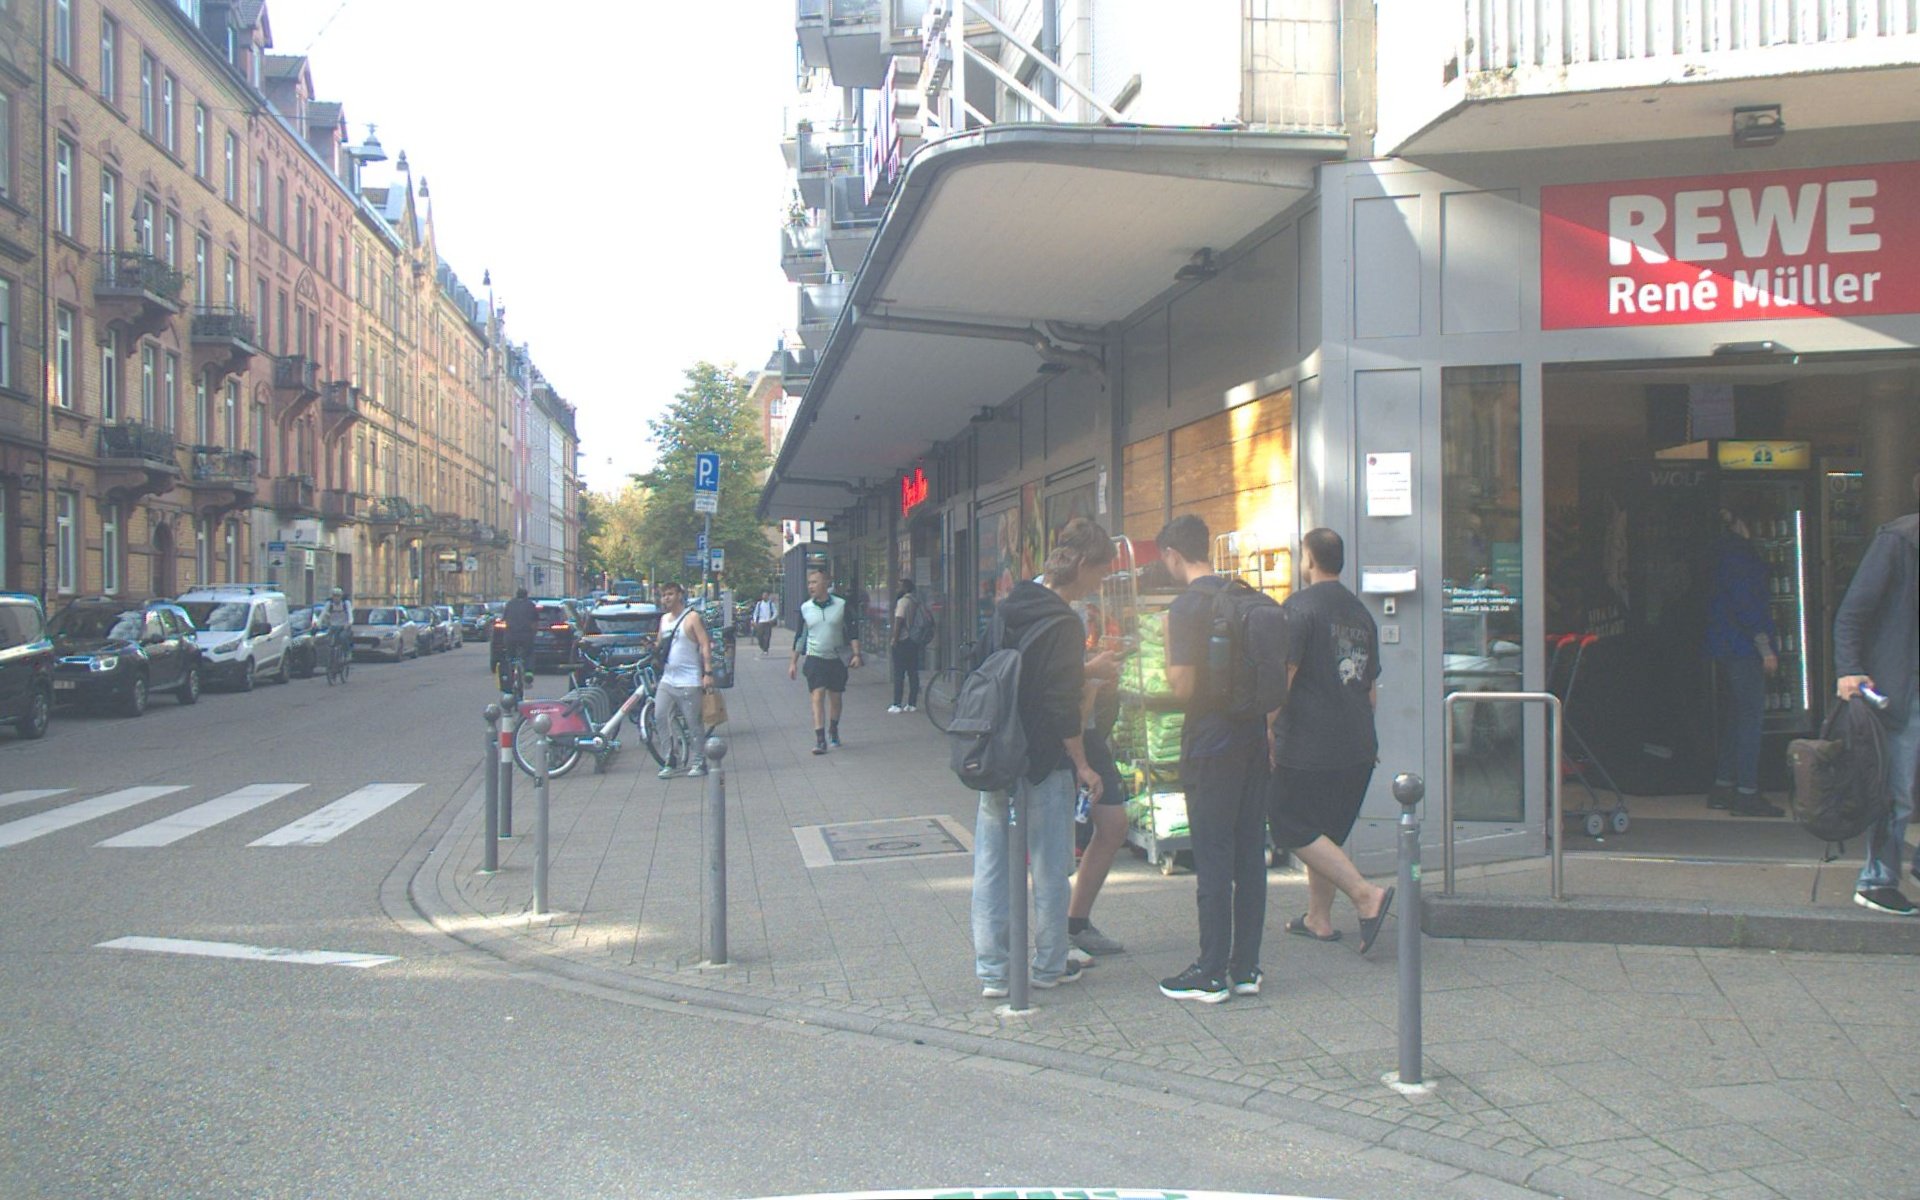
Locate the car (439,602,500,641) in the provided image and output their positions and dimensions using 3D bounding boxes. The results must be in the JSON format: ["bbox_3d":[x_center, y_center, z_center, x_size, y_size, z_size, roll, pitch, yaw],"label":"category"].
[{"bbox_3d":[-18.633,0.788,62.915,1.658,1.411,3.859,1,0,-8],"label":"car"}]

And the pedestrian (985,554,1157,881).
[{"bbox_3d":[0.589,0.604,8.972,0.709,1.661,0.710,-3,1,-11],"label":"pedestrian"}]

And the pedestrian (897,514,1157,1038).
[{"bbox_3d":[0.264,0.611,6.238,0.619,1.828,0.713,-2,2,32],"label":"pedestrian"}]

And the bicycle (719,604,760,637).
[{"bbox_3d":[-8.250,0.773,61.955,1.467,1.166,0.410,-3,1,-9],"label":"bicycle"}]

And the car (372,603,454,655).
[{"bbox_3d":[-16.647,0.851,50.497,1.709,1.509,3.975,1,0,-8],"label":"car"}]

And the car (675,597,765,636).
[{"bbox_3d":[-10.791,0.734,74.372,3.704,1.573,1.721,-2,-1,-19],"label":"car"}]

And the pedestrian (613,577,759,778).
[{"bbox_3d":[-2.416,0.662,14.581,1.012,1.700,0.793,0,-2,-39],"label":"pedestrian"}]

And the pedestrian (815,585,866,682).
[{"bbox_3d":[-2.042,0.566,28.132,0.808,1.616,0.779,-1,0,-7],"label":"pedestrian"}]

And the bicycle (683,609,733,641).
[{"bbox_3d":[-9.190,0.904,60.366,1.736,1.075,0.410,-3,1,-14],"label":"bicycle"}]

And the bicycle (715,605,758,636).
[{"bbox_3d":[-9.109,0.844,67.428,1.699,1.179,0.499,-3,1,-7],"label":"bicycle"}]

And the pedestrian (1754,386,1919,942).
[{"bbox_3d":[3.734,0.223,6.476,1.009,2.048,0.864,-1,1,20],"label":"pedestrian"}]

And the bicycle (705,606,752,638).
[{"bbox_3d":[-9.300,0.877,66.394,1.756,1.179,0.500,-2,1,17],"label":"bicycle"}]

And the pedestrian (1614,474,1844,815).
[{"bbox_3d":[4.299,0.228,9.269,0.756,1.784,0.919,-1,0,-35],"label":"pedestrian"}]

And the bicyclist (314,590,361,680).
[{"bbox_3d":[-12.059,0.660,32.060,0.688,1.707,1.109,0,0,-12],"label":"bicyclist"}]

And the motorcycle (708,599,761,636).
[{"bbox_3d":[-9.439,0.732,69.291,2.108,1.459,0.764,-3,1,-4],"label":"motorcycle"}]

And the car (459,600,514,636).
[{"bbox_3d":[-19.778,0.743,69.174,1.658,1.462,3.859,1,0,-8],"label":"car"}]

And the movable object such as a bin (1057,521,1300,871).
[{"bbox_3d":[1.193,0.484,9.660,0.765,1.775,2.418,0,0,-8],"label":"movable object such as a bin"}]

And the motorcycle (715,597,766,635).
[{"bbox_3d":[-9.575,0.708,72.316,2.108,1.557,0.685,-3,1,-4],"label":"motorcycle"}]

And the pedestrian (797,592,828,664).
[{"bbox_3d":[-3.394,0.632,38.021,0.631,1.616,0.779,-2,0,-7],"label":"pedestrian"}]

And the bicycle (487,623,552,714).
[{"bbox_3d":[-6.718,1.025,25.299,0.704,1.296,1.881,1,0,-8],"label":"bicycle"}]

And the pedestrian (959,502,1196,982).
[{"bbox_3d":[0.489,0.541,6.711,0.698,1.828,0.632,-2,2,24],"label":"pedestrian"}]

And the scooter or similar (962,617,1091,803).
[{"bbox_3d":[0.465,0.763,12.040,0.620,1.234,1.252,-2,1,-11],"label":"scooter or similar"}]

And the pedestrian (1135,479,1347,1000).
[{"bbox_3d":[1.034,0.493,6.215,0.639,1.828,0.659,-3,1,4],"label":"pedestrian"}]

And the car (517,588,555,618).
[{"bbox_3d":[-23.621,0.160,92.252,1.659,1.577,3.859,2,-1,-9],"label":"car"}]

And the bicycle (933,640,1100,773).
[{"bbox_3d":[0.456,0.883,14.298,0.668,1.061,1.718,-1,-1,-28],"label":"bicycle"}]

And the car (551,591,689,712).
[{"bbox_3d":[-5.183,0.721,25.658,1.759,1.633,3.917,-3,1,-8],"label":"car"}]

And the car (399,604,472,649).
[{"bbox_3d":[-17.281,0.844,54.647,1.658,1.411,3.859,1,0,-8],"label":"car"}]

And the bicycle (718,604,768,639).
[{"bbox_3d":[-7.892,0.774,60.162,1.732,1.182,0.649,-3,1,-7],"label":"bicycle"}]

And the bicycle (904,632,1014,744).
[{"bbox_3d":[-0.037,0.886,17.207,0.729,1.033,1.777,-3,0,-13],"label":"bicycle"}]

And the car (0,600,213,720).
[{"bbox_3d":[-12.991,0.840,25.147,1.957,1.667,4.136,1,0,-10],"label":"car"}]

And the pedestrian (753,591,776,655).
[{"bbox_3d":[-5.431,0.626,45.848,0.600,1.756,1.125,-1,1,-8],"label":"pedestrian"}]

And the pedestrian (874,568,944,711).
[{"bbox_3d":[-0.664,0.491,21.313,0.701,1.777,0.815,-3,1,-11],"label":"pedestrian"}]

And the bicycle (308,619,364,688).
[{"bbox_3d":[-12.029,1.012,31.929,0.688,1.241,2.110,0,0,-12],"label":"bicycle"}]

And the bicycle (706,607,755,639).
[{"bbox_3d":[-8.466,0.840,61.129,1.732,1.106,0.649,-3,1,-7],"label":"bicycle"}]

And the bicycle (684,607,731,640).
[{"bbox_3d":[-10.051,0.933,65.865,1.760,1.179,0.499,-3,1,-6],"label":"bicycle"}]

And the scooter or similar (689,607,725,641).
[{"bbox_3d":[-9.120,0.857,59.619,1.181,1.167,0.378,-2,2,23],"label":"scooter or similar"}]

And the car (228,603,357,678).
[{"bbox_3d":[-14.637,0.857,36.491,1.709,1.509,3.975,2,-1,-8],"label":"car"}]

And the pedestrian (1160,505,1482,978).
[{"bbox_3d":[1.480,0.531,6.929,0.837,1.777,1.043,-3,1,-19],"label":"pedestrian"}]

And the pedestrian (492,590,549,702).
[{"bbox_3d":[-6.729,0.696,25.359,0.704,1.679,0.929,1,0,-8],"label":"pedestrian"}]

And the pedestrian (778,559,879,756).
[{"bbox_3d":[-1.306,0.556,16.581,0.866,1.866,1.047,-2,0,-1],"label":"pedestrian"}]

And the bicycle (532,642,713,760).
[{"bbox_3d":[-3.532,1.039,17.313,1.761,1.089,0.566,-3,1,-19],"label":"bicycle"}]

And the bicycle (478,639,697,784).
[{"bbox_3d":[-3.386,0.998,15.185,1.849,1.145,0.905,-3,1,-11],"label":"bicycle"}]

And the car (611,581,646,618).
[{"bbox_3d":[-19.031,-0.034,95.038,1.749,2.055,3.879,1,0,-9],"label":"car"}]

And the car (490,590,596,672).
[{"bbox_3d":[-9.492,0.696,37.921,1.928,1.771,4.033,1,-1,-8],"label":"car"}]

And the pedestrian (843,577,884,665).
[{"bbox_3d":[-2.093,0.451,36.023,0.693,1.893,0.645,0,0,20],"label":"pedestrian"}]

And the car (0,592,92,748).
[{"bbox_3d":[-12.077,0.800,19.729,1.728,1.804,4.396,1,0,-10],"label":"car"}]

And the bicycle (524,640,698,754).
[{"bbox_3d":[-3.795,1.035,17.991,1.761,1.089,0.583,-3,1,-19],"label":"bicycle"}]

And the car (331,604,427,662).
[{"bbox_3d":[-15.915,0.880,45.484,1.709,1.509,3.975,1,0,-8],"label":"car"}]

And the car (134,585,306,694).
[{"bbox_3d":[-13.841,0.684,31.213,1.884,1.904,4.427,0,0,-9],"label":"car"}]
